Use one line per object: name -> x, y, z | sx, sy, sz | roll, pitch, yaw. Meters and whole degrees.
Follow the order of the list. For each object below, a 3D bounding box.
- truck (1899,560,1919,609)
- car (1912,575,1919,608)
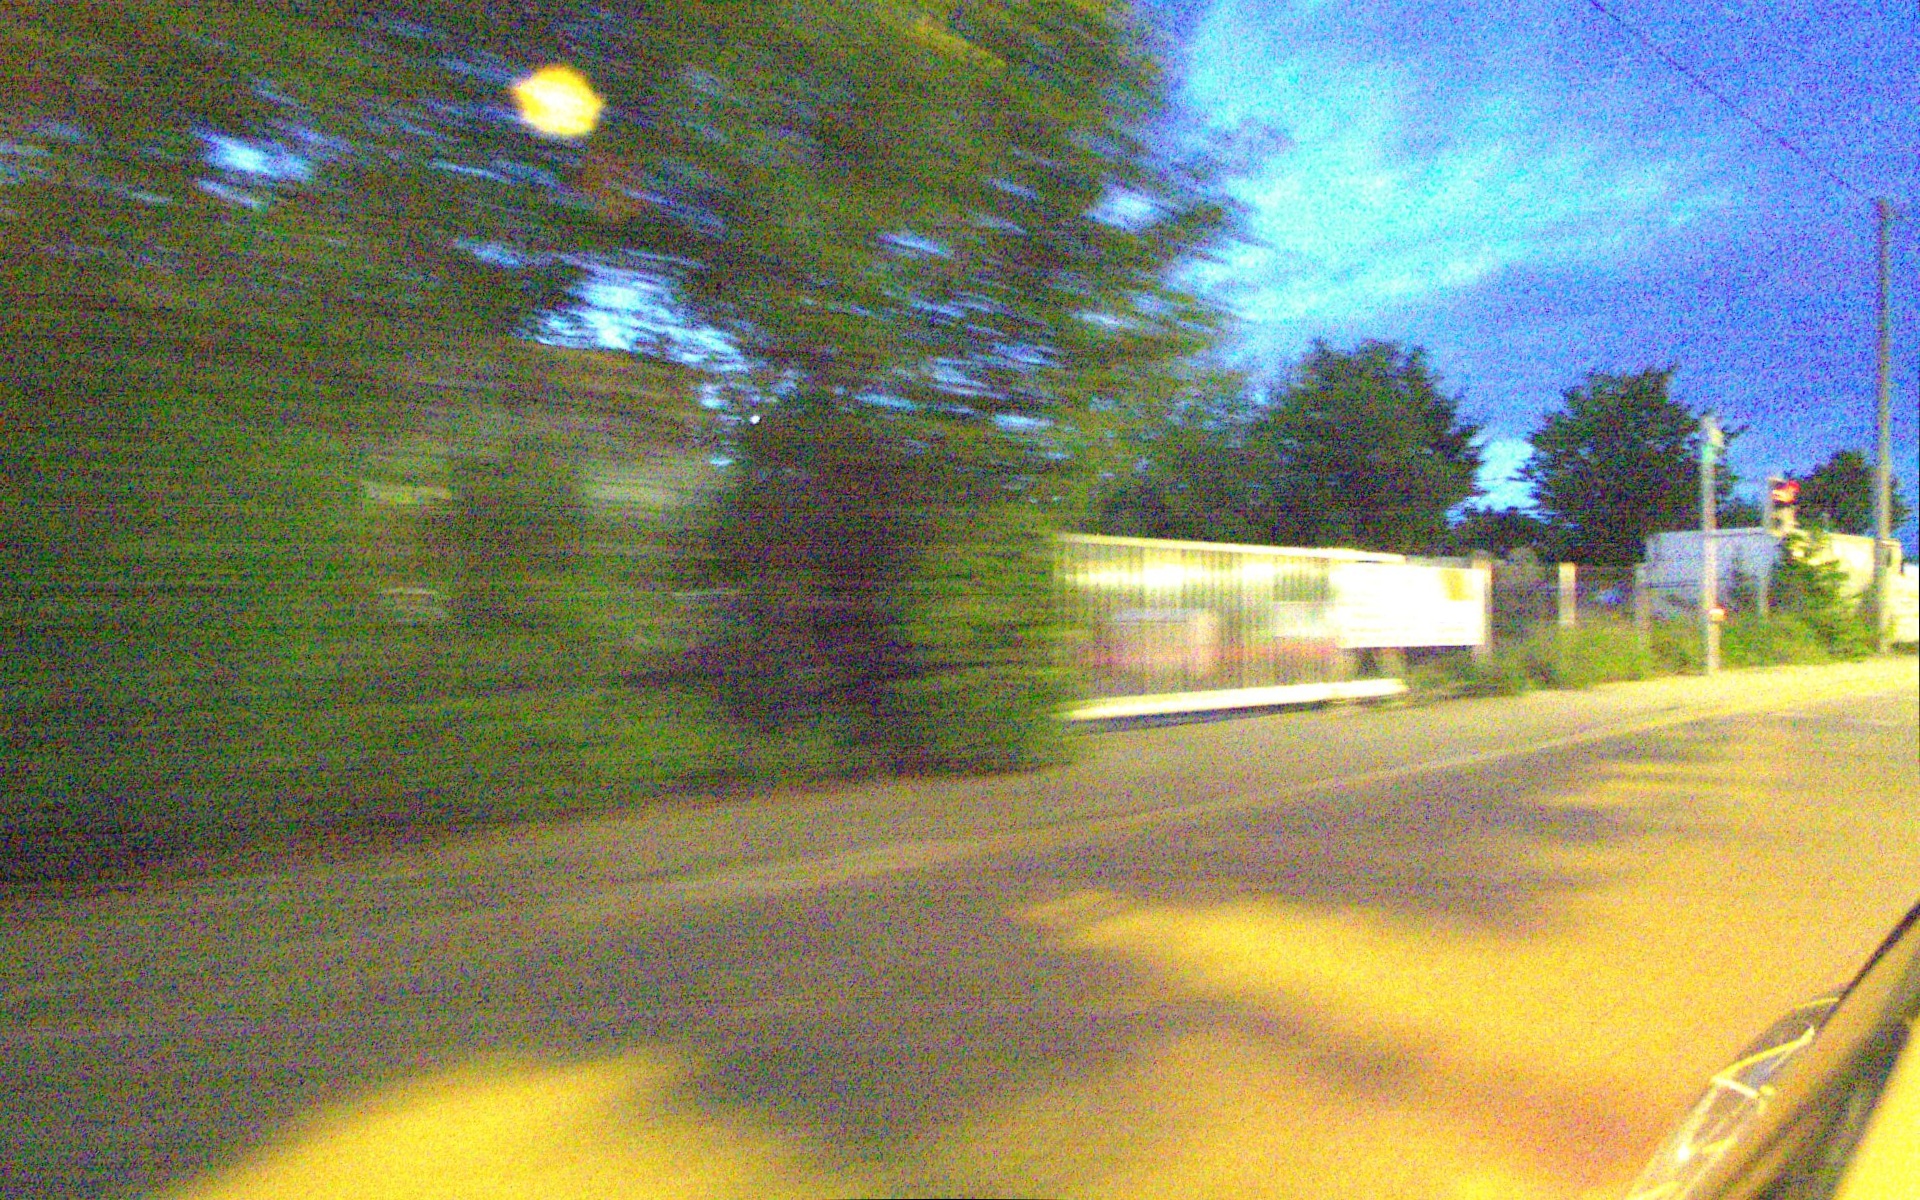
truck -> 53.614, -0.849, 53.342 | 2.424, 2.633, 5.550 | -1, 0, -33
car -> 55.496, -0.503, 54.986 | 1.949, 1.859, 5.095 | -1, 0, -29
